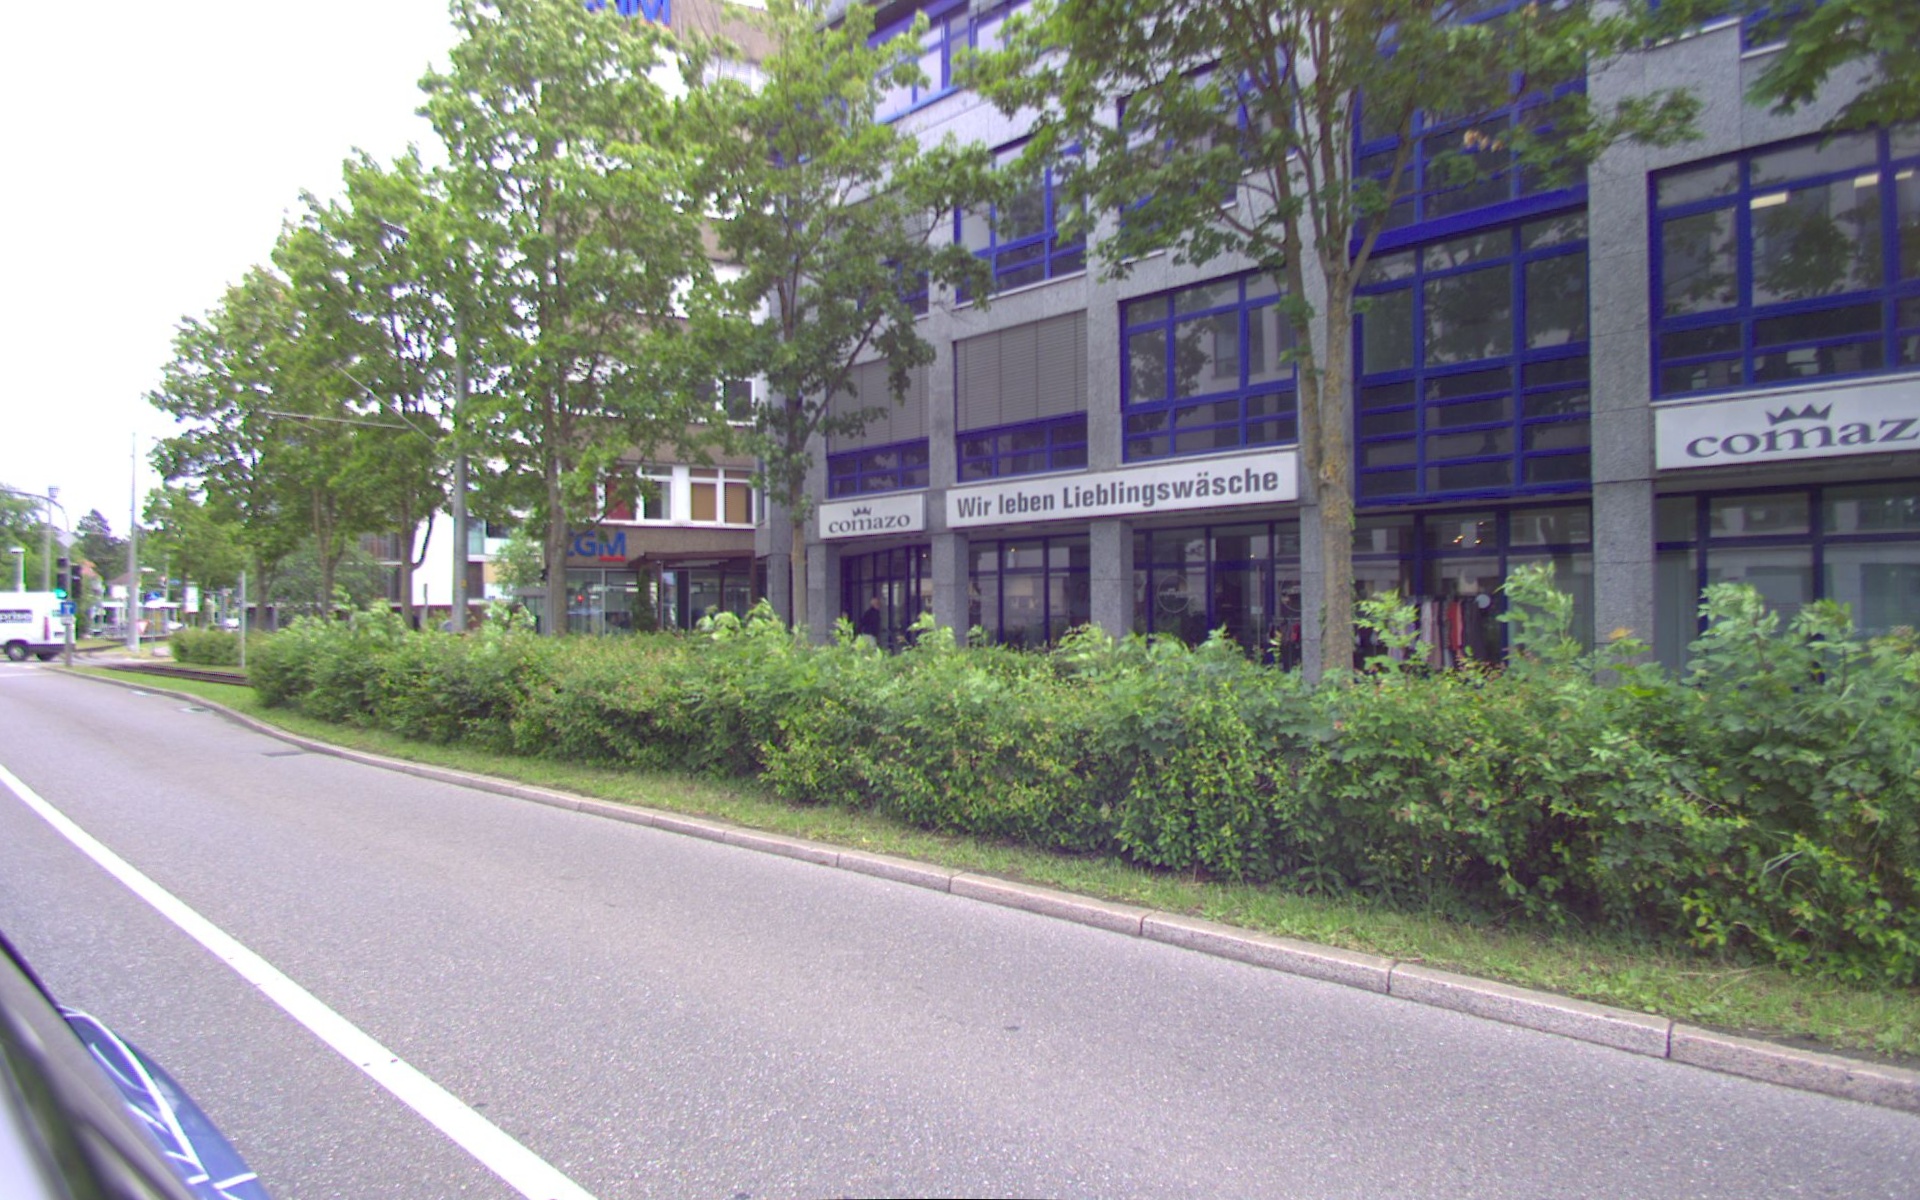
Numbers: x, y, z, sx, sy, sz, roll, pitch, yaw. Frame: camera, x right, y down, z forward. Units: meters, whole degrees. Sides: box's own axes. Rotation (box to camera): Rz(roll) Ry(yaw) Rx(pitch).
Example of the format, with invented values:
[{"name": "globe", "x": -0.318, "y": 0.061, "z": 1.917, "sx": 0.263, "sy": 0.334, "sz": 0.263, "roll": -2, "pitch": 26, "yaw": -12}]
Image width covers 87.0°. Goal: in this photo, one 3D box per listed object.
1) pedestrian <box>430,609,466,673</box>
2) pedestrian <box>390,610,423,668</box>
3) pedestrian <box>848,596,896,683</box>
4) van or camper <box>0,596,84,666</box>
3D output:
[{"name": "pedestrian", "x": -14.914, "y": 1.174, "z": 29.485, "sx": 0.730, "sy": 1.819, "sz": 0.672, "roll": -1, "pitch": 0, "yaw": 37}, {"name": "pedestrian", "x": -18.898, "y": 1.330, "z": 34.554, "sx": 0.731, "sy": 1.938, "sz": 0.805, "roll": -1, "pitch": 0, "yaw": 40}, {"name": "pedestrian", "x": -1.962, "y": 0.858, "z": 22.564, "sx": 0.731, "sy": 1.908, "sz": 0.766, "roll": -1, "pitch": 0, "yaw": 40}, {"name": "van or camper", "x": -39.378, "y": 1.258, "z": 40.656, "sx": 6.049, "sy": 2.754, "sz": 2.120, "roll": 0, "pitch": 0, "yaw": -13}]
